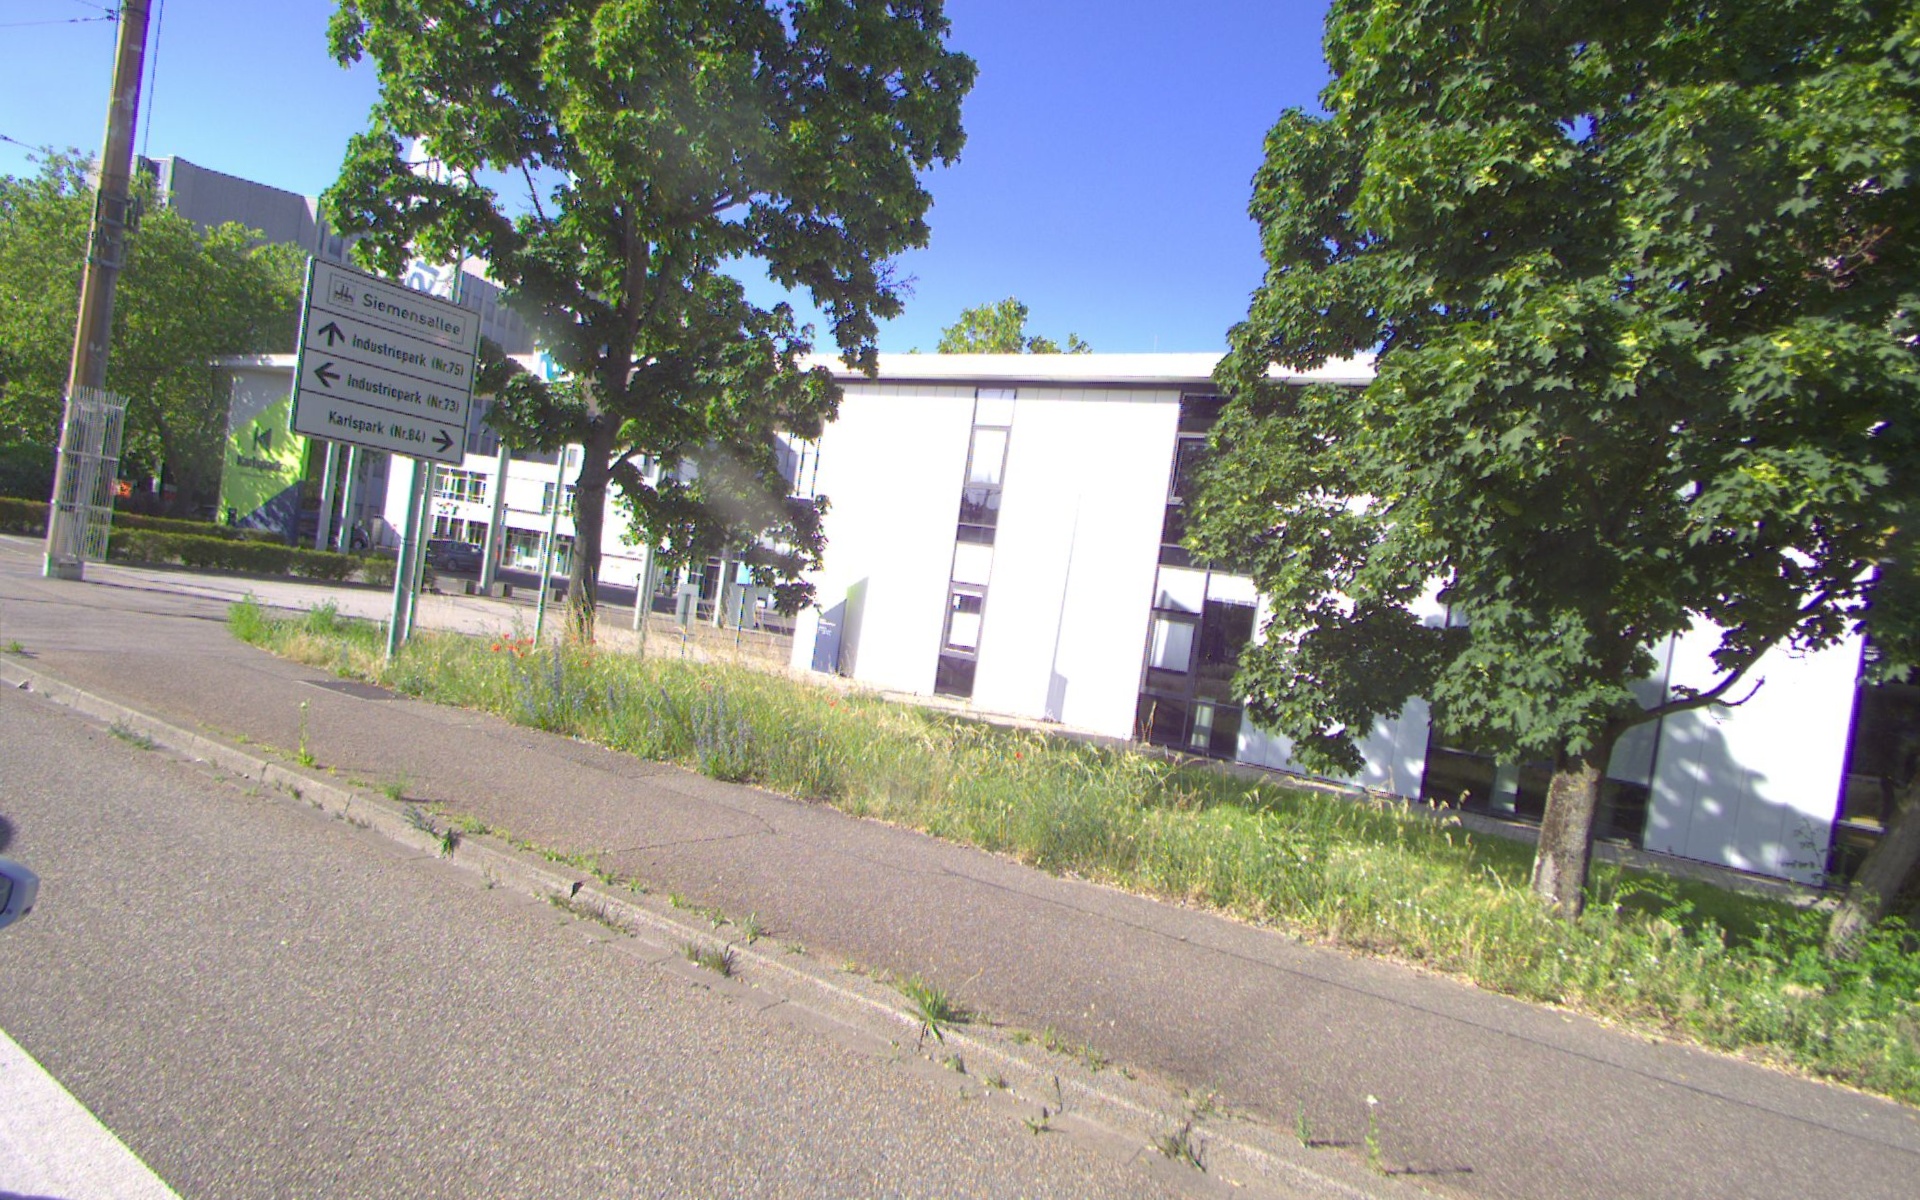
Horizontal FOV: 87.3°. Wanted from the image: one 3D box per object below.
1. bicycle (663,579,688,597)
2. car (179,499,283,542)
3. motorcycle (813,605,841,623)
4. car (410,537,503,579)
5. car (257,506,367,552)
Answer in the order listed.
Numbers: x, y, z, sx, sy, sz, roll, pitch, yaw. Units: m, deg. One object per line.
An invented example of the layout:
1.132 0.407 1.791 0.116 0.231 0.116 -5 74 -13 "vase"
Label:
-20.250 -0.861 71.659 1.591 1.016 0.566 8 0 17 "bicycle"
-42.645 -4.637 58.955 1.861 1.706 4.468 8 -1 26 "car"
-8.965 0.919 67.848 1.701 0.959 0.653 8 0 17 "motorcycle"
-26.667 -2.208 53.440 1.918 1.597 4.000 8 -1 23 "car"
-36.270 -3.951 56.497 2.052 1.778 4.900 8 -1 17 "car"
